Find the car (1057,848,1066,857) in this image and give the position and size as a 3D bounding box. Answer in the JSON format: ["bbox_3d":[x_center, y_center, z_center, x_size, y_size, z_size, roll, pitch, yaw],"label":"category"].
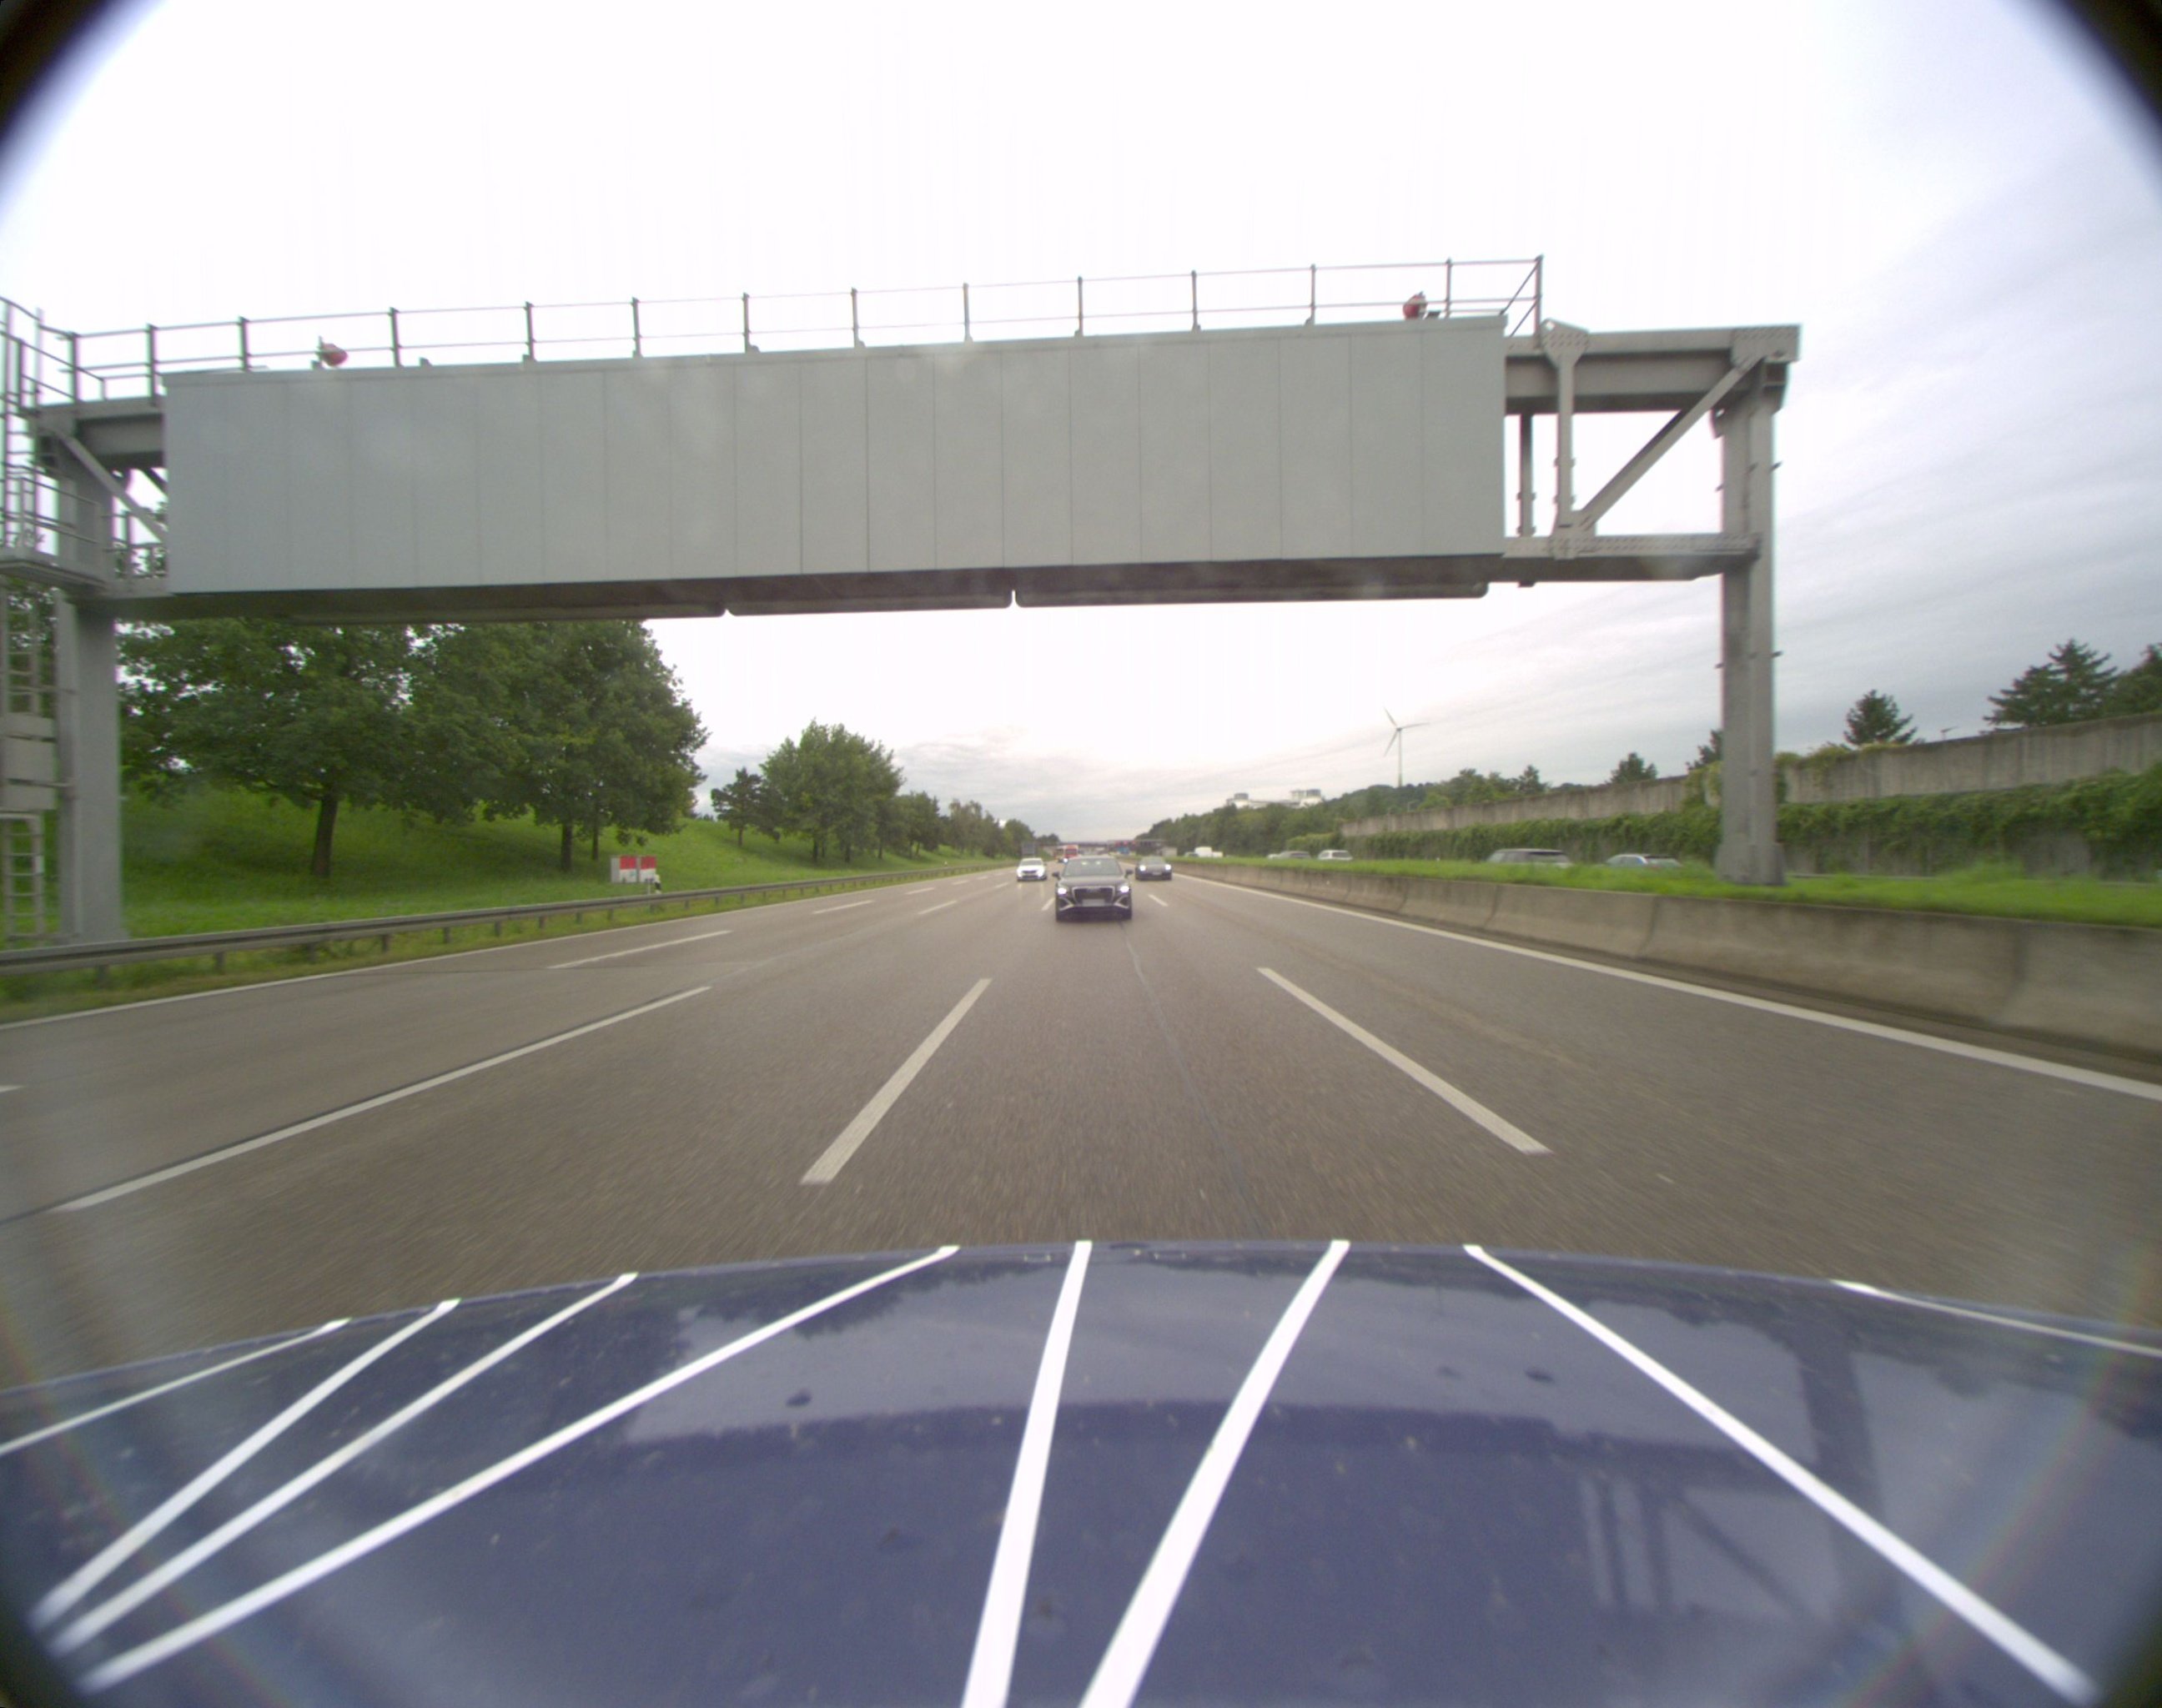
[{"bbox_3d":[-4.859,-0.412,191.980,1.998,2.002,4.000,-2,1,2],"label":"car"}]

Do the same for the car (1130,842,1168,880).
[{"bbox_3d":[3.772,0.359,42.687,1.725,2.002,3.851,-2,1,1],"label":"car"}]

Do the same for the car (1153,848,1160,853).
[{"bbox_3d":[23.546,-1.053,237.807,1.787,1.623,4.293,-2,1,0],"label":"car"}]

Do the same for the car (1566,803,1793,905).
[{"bbox_3d":[13.611,-0.023,17.680,1.998,2.002,4.224,-2,1,2],"label":"car"}]

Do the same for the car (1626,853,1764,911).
[{"bbox_3d":[23.860,1.015,29.779,1.998,2.002,4.224,-2,1,1],"label":"car"}]

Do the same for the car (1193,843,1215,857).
[{"bbox_3d":[18.149,-0.561,112.318,2.132,1.901,6.533,-2,1,1],"label":"car"}]

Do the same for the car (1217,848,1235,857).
[{"bbox_3d":[22.071,-0.203,116.062,1.884,1.336,4.527,-2,0,0],"label":"car"}]

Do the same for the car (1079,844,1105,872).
[{"bbox_3d":[1.198,0.338,79.327,2.459,2.726,8.265,-2,1,1],"label":"car"}]

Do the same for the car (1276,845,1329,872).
[{"bbox_3d":[13.505,0.231,46.572,1.998,1.534,4.224,-2,0,1],"label":"car"}]

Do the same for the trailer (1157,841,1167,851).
[{"bbox_3d":[25.865,-2.564,244.102,2.312,3.271,10.562,-2,1,2],"label":"trailer"}]

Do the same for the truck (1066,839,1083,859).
[{"bbox_3d":[-1.106,-1.004,144.359,2.836,3.634,10.670,-2,1,1],"label":"truck"}]

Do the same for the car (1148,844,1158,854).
[{"bbox_3d":[15.814,-1.051,166.833,1.772,2.002,4.000,-2,1,1],"label":"car"}]

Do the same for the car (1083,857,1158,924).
[{"bbox_3d":[0.900,0.824,18.722,1.616,1.403,3.326,-2,1,0],"label":"car"}]

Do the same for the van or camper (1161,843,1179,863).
[{"bbox_3d":[17.891,-0.253,152.823,2.714,3.925,8.401,-2,1,1],"label":"van or camper"}]

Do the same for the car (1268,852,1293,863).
[{"bbox_3d":[20.553,0.340,78.444,1.609,1.089,3.274,-2,0,-2],"label":"car"}]

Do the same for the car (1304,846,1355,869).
[{"bbox_3d":[17.100,0.233,52.533,1.998,1.446,4.934,-2,0,1],"label":"car"}]

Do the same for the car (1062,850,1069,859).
[{"bbox_3d":[-3.547,0.037,173.750,1.455,2.002,3.677,-2,1,1],"label":"car"}]

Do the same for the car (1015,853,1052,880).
[{"bbox_3d":[-3.024,0.782,49.646,1.998,1.555,4.910,-2,0,1],"label":"car"}]

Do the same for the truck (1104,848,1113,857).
[{"bbox_3d":[6.740,-0.337,183.649,1.998,2.002,4.000,-2,0,1],"label":"truck"}]
